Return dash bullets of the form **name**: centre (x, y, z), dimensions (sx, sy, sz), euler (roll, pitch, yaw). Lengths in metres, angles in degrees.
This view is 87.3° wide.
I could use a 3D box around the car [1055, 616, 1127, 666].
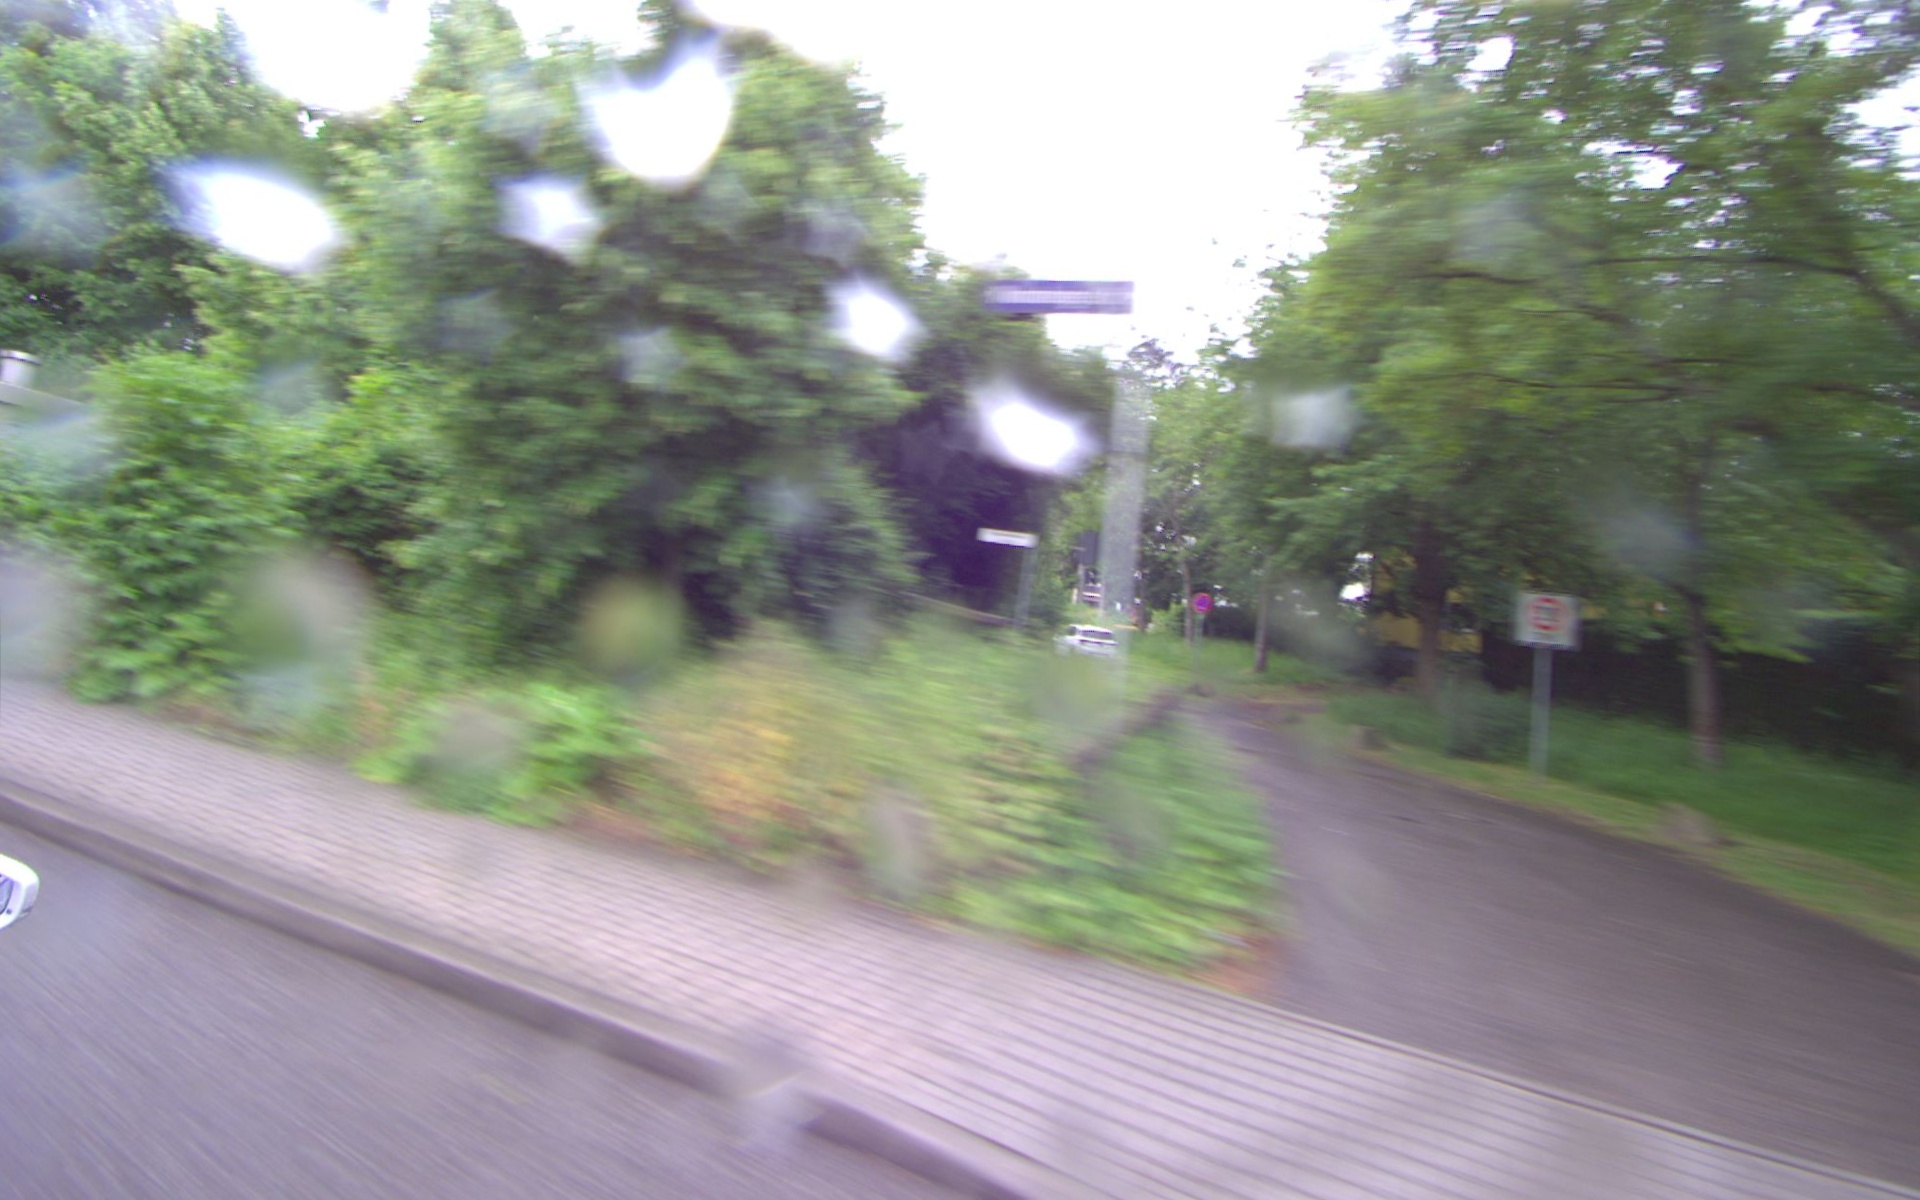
- **car**: centre (5.075, 1.551, 39.547), dimensions (1.821, 1.640, 3.998), euler (7, -1, -5)
